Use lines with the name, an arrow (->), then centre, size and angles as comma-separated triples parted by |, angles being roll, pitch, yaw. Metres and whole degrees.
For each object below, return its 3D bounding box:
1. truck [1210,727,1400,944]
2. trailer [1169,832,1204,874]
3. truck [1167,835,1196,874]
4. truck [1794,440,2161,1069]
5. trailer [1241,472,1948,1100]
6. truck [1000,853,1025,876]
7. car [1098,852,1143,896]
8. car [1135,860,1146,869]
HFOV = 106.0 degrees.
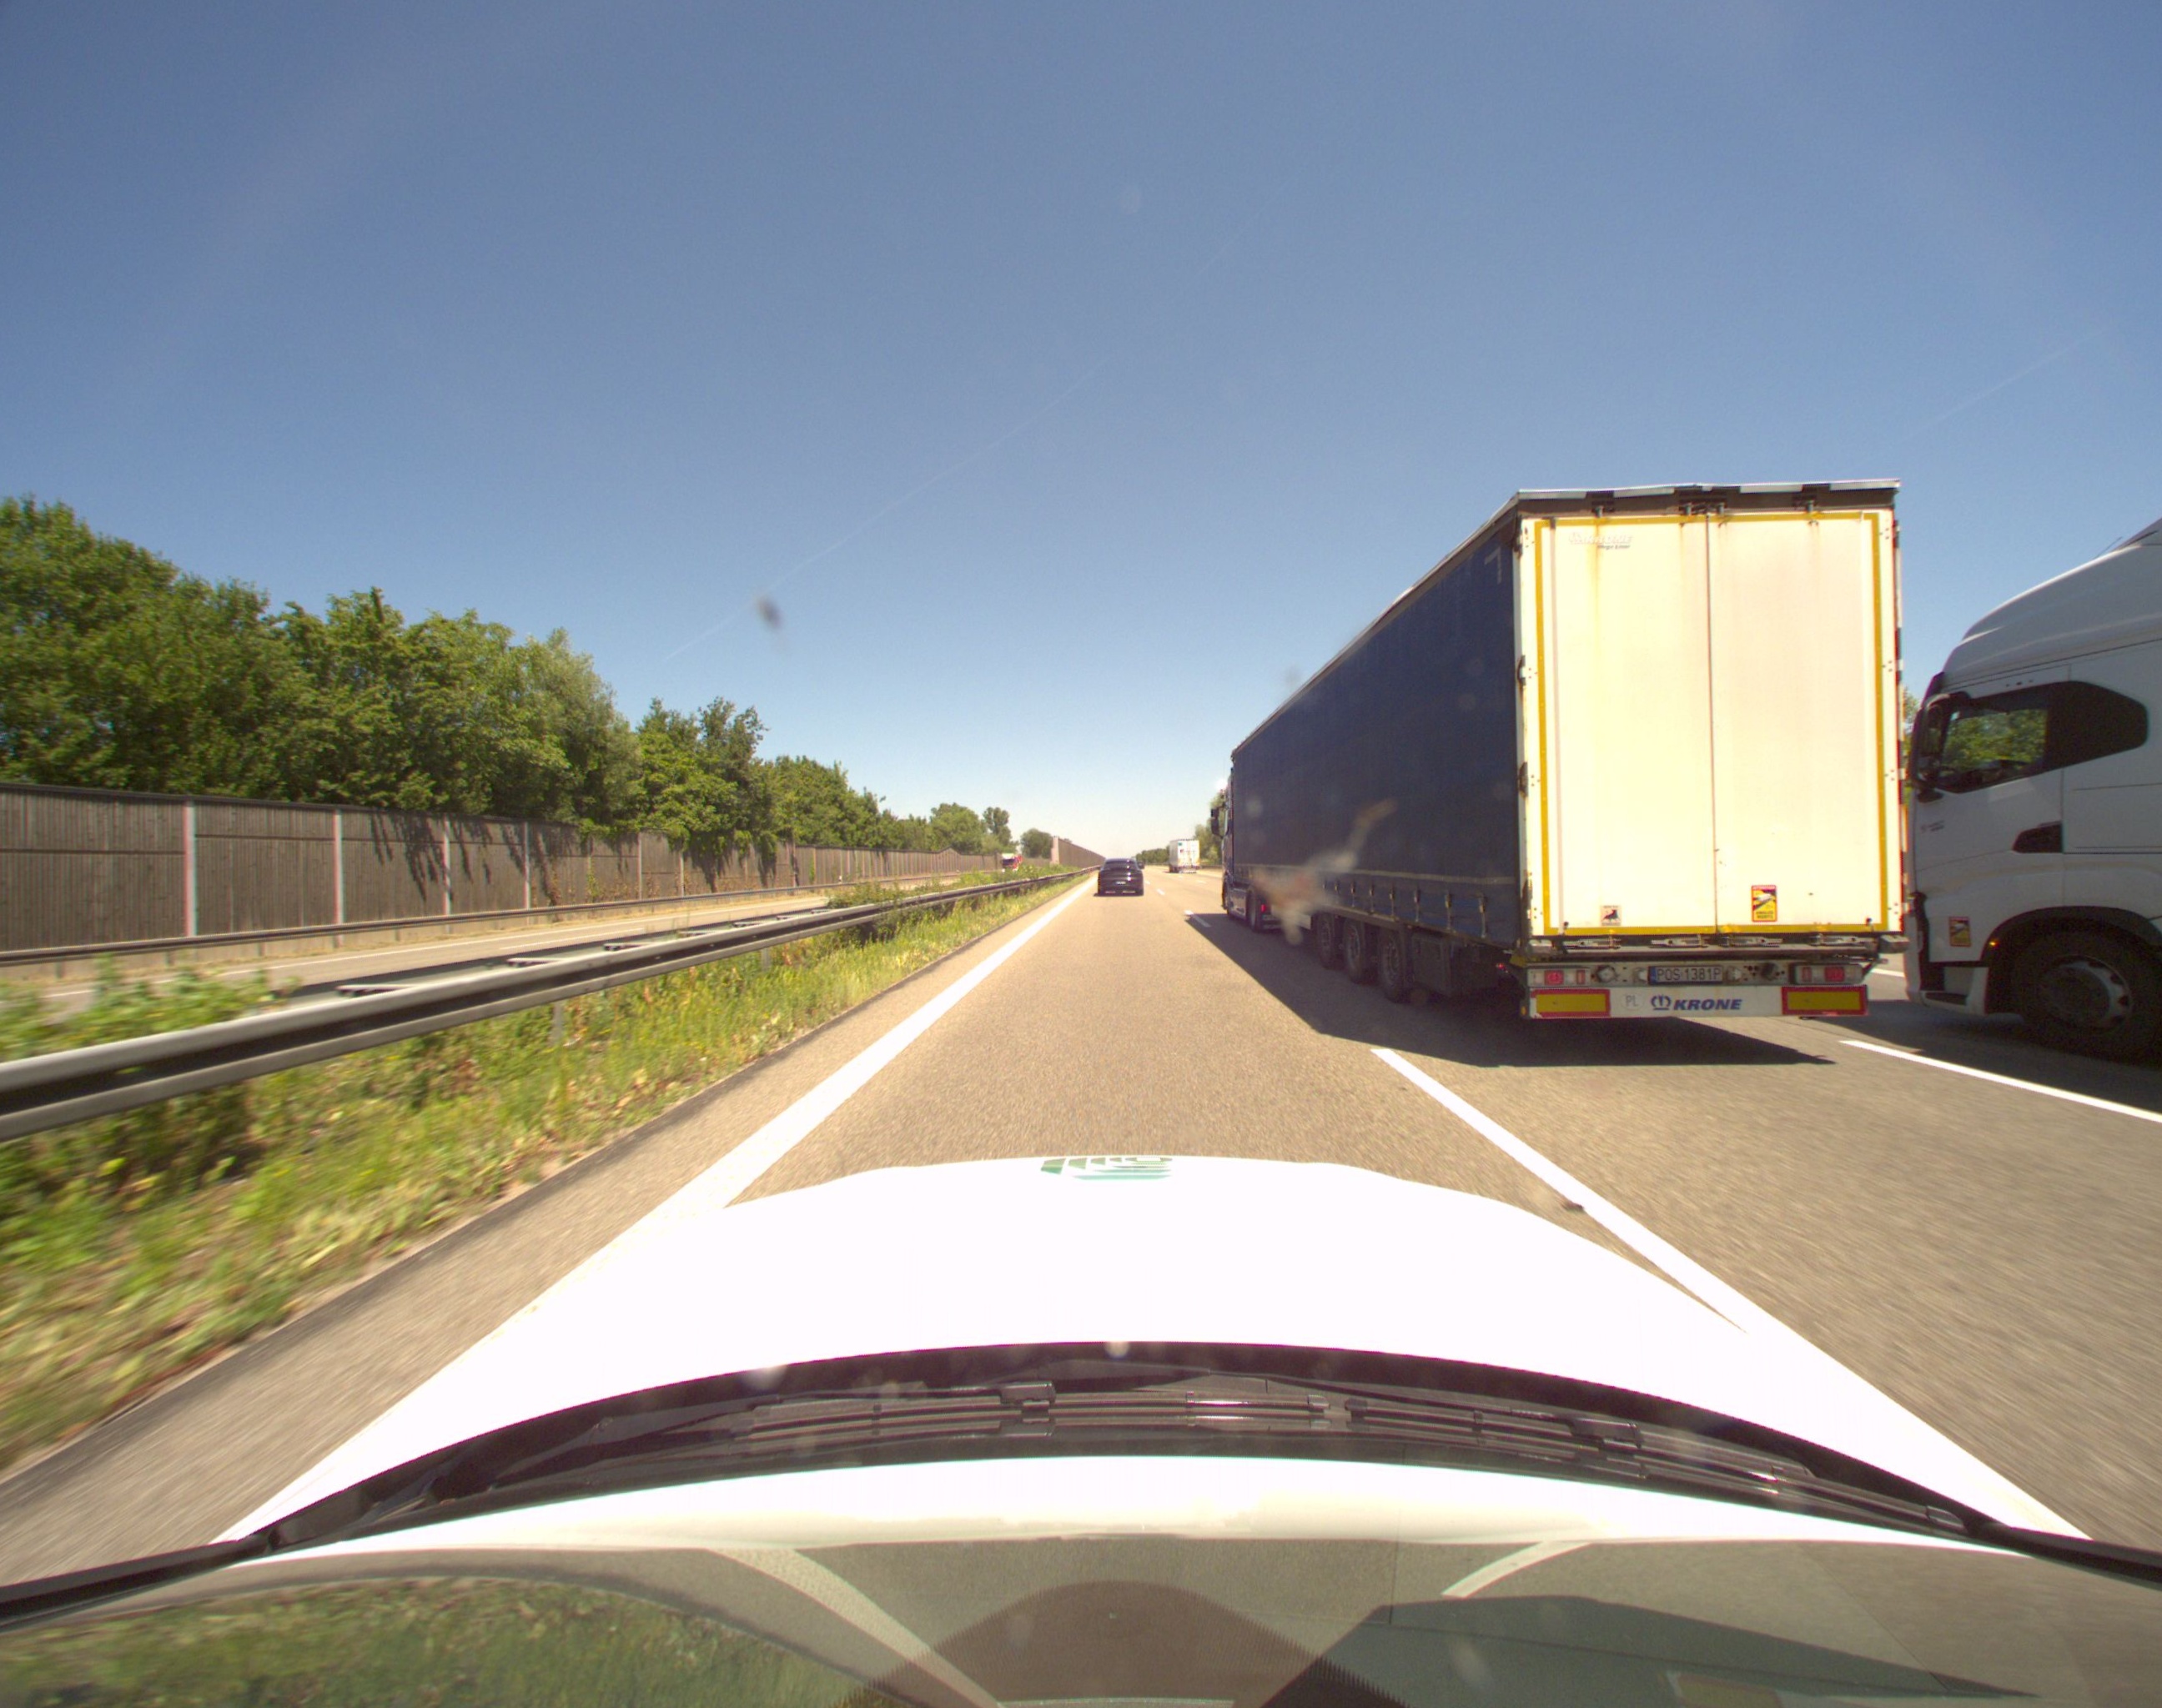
truck -> 4.823, -0.312, 19.044 | 2.690, 4.118, 6.993 | -1, -1, 2
trailer -> 12.978, -0.047, 101.136 | 3.256, 4.838, 14.039 | -1, -1, 3
truck -> 13.293, 0.109, 108.302 | 3.221, 4.889, 6.976 | -1, -1, 3
truck -> 8.411, -0.667, 4.630 | 2.690, 4.118, 6.993 | -1, -1, 2
trailer -> 4.547, -0.389, 11.435 | 2.689, 4.118, 12.138 | -1, -1, 2
truck -> -11.114, 1.702, 133.307 | 2.688, 3.492, 10.861 | -1, -1, 3
car -> 1.711, 0.862, 36.247 | 1.873, 1.792, 4.001 | -1, 0, 1
car -> 11.009, 1.896, 150.362 | 1.895, 1.584, 4.306 | -2, -2, 3
